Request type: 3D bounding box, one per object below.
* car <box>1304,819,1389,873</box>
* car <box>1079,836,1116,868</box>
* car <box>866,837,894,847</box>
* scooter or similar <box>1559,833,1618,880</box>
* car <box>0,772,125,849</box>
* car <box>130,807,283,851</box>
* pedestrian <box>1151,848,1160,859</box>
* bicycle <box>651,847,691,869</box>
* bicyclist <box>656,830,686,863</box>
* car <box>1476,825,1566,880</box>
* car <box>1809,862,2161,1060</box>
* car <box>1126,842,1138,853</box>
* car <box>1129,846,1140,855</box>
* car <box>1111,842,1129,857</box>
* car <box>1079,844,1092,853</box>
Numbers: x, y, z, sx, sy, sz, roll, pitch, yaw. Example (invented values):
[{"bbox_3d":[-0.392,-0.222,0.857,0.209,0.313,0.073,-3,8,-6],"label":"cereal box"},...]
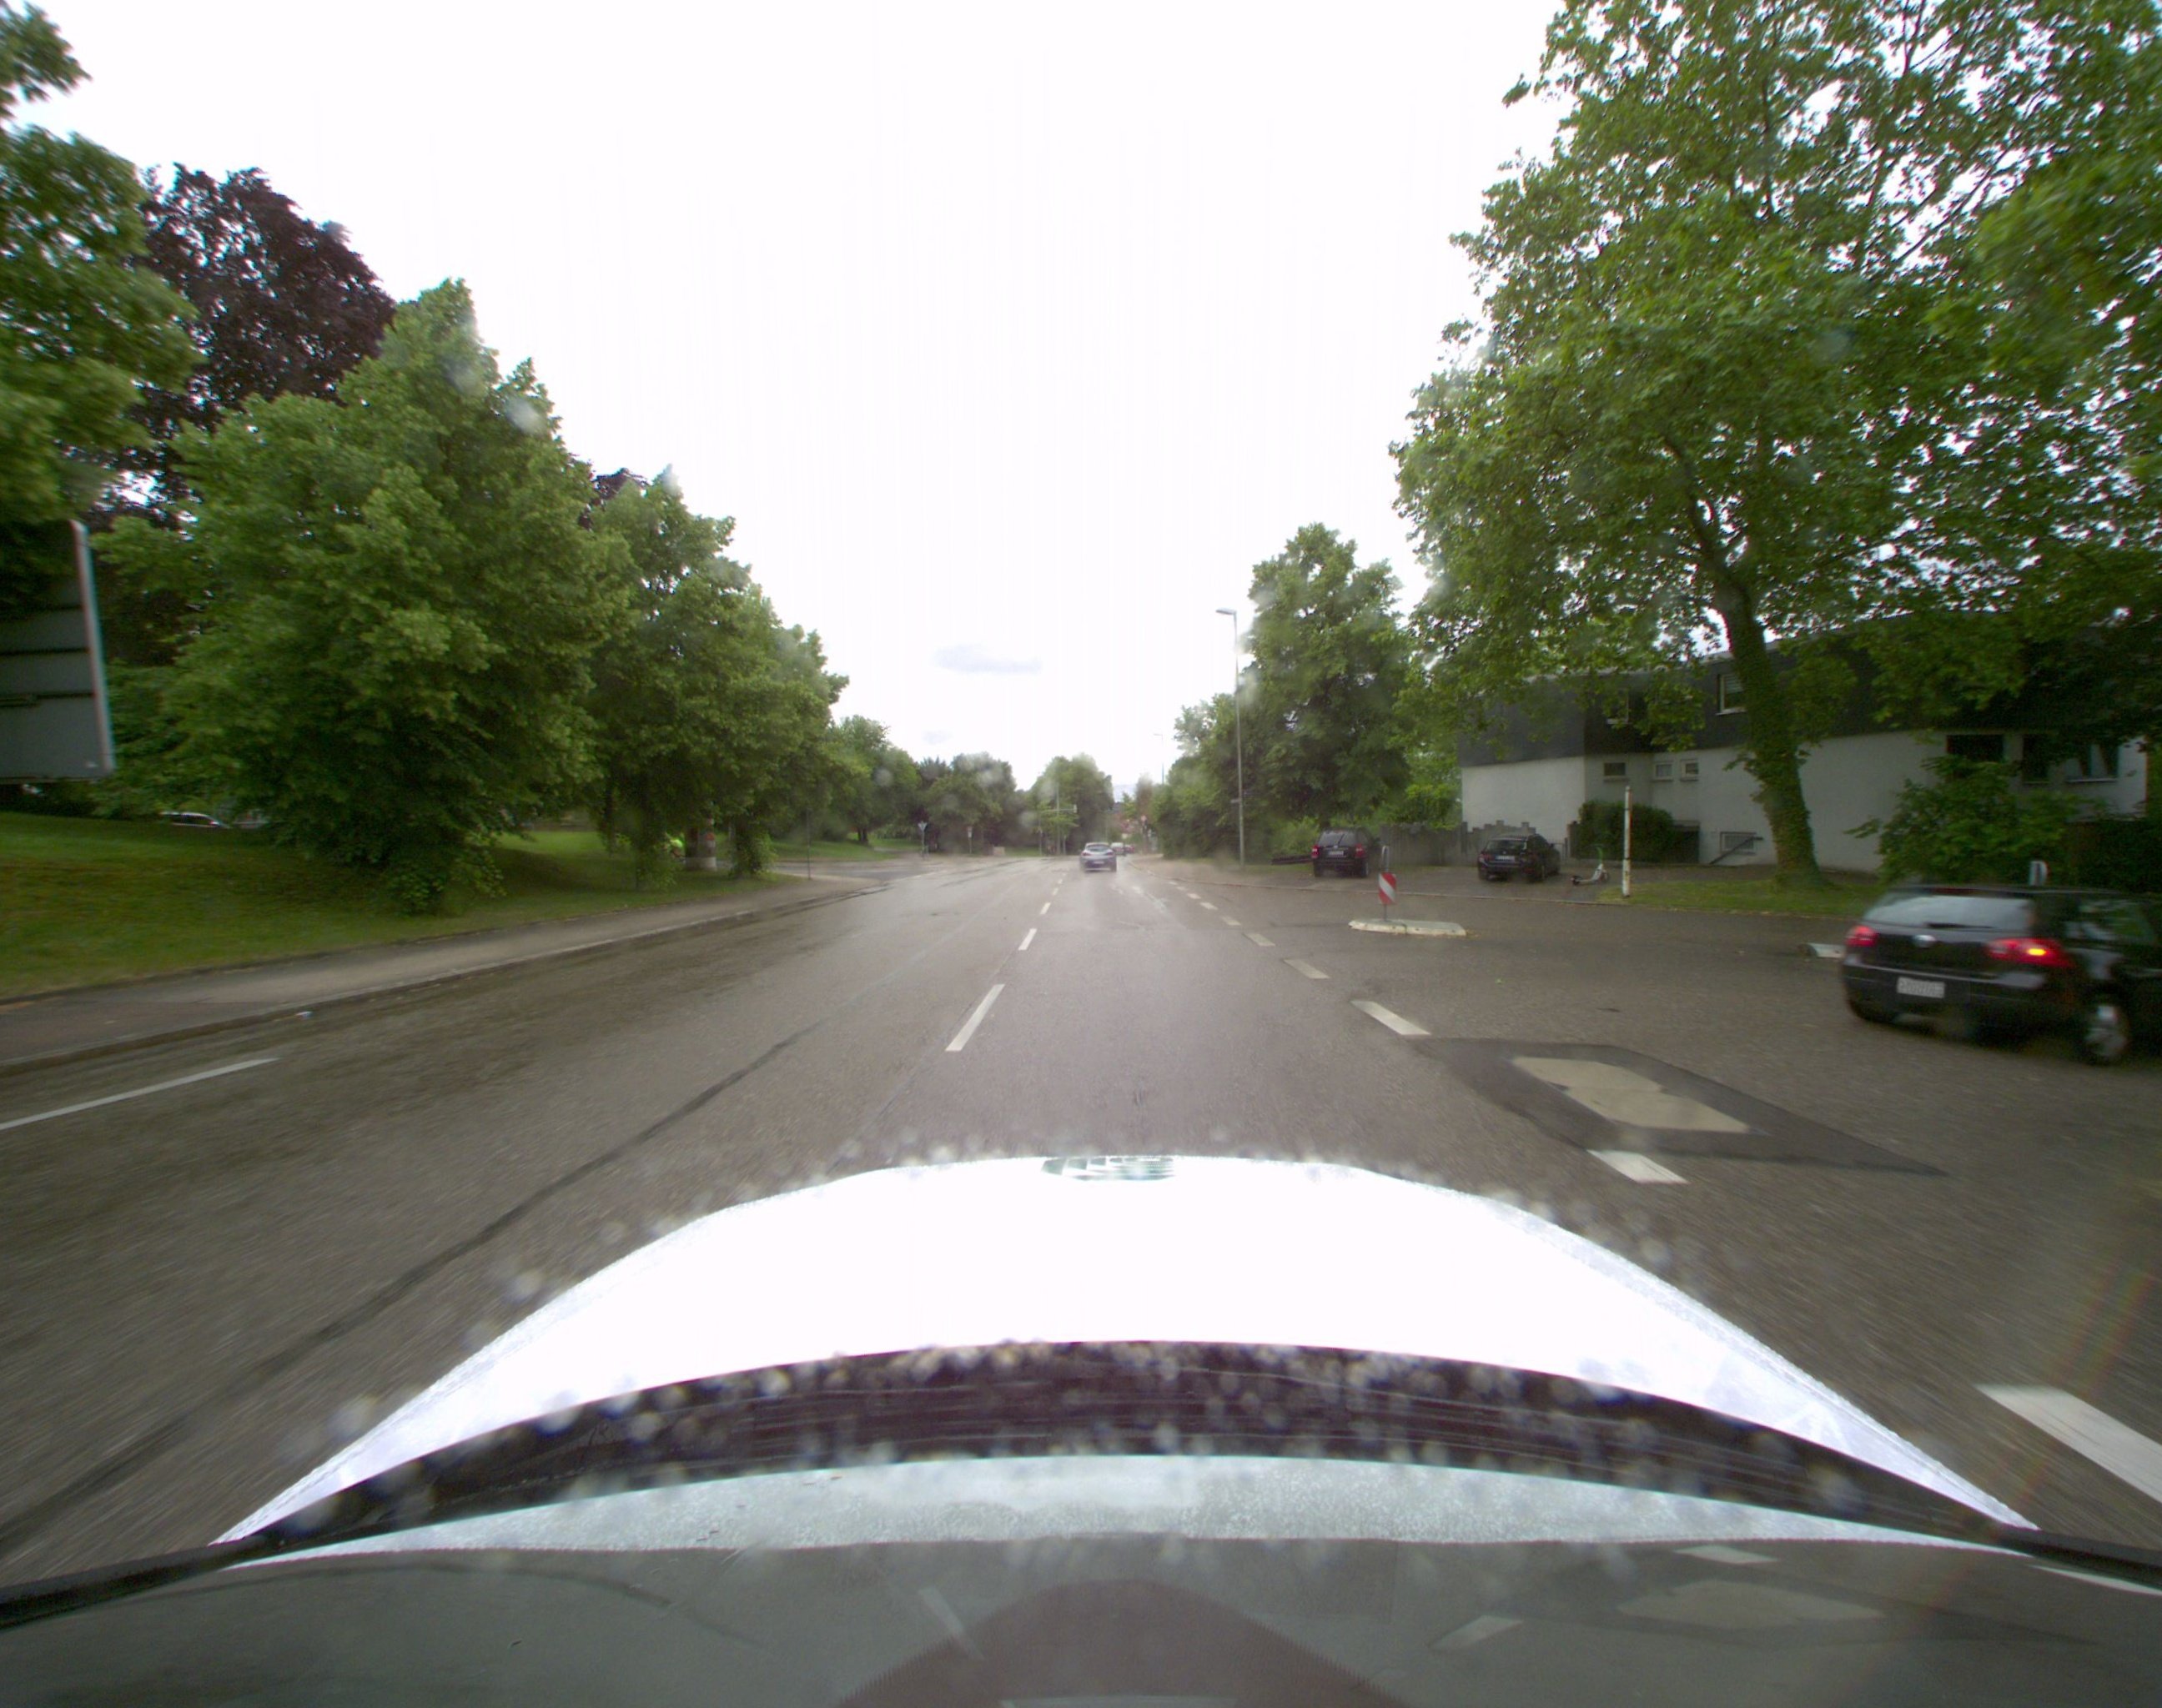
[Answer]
[{"bbox_3d":[9.569,-0.353,29.110,1.929,1.689,4.935,0,3,30],"label":"car"},{"bbox_3d":[0.896,-0.082,41.530,1.747,1.464,4.002,-2,-1,2],"label":"car"},{"bbox_3d":[-29.863,-1.763,120.809,3.906,1.486,1.924,-1,0,-18],"label":"car"},{"bbox_3d":[14.801,0.072,23.773,1.333,1.285,0.561,-2,-1,-4],"label":"scooter or similar"},{"bbox_3d":[-39.368,-1.565,29.550,5.696,2.699,2.133,0,0,-37],"label":"car"},{"bbox_3d":[-35.178,-0.950,32.949,4.021,1.668,1.954,0,0,-41],"label":"car"},{"bbox_3d":[10.067,-0.050,109.832,1.066,1.355,0.921,-2,-1,12],"label":"pedestrian"},{"bbox_3d":[-22.549,0.236,44.754,2.013,1.155,0.859,-2,-2,24],"label":"bicycle"},{"bbox_3d":[-22.532,-0.389,44.759,1.270,1.755,0.859,-2,-2,24],"label":"bicyclist"},{"bbox_3d":[14.151,-0.134,26.054,1.734,1.469,4.595,1,4,39],"label":"car"},{"bbox_3d":[9.453,0.934,7.811,3.994,1.463,1.719,2,3,-15],"label":"car"},{"bbox_3d":[7.467,-0.912,119.377,1.714,1.464,4.004,2,0,4],"label":"car"},{"bbox_3d":[8.864,-0.536,134.680,1.714,1.464,4.004,2,0,4],"label":"car"},{"bbox_3d":[4.044,-0.456,84.888,1.714,1.464,4.004,2,0,4],"label":"car"},{"bbox_3d":[0.712,-0.921,128.736,1.652,1.306,4.090,-3,1,5],"label":"car"}]
